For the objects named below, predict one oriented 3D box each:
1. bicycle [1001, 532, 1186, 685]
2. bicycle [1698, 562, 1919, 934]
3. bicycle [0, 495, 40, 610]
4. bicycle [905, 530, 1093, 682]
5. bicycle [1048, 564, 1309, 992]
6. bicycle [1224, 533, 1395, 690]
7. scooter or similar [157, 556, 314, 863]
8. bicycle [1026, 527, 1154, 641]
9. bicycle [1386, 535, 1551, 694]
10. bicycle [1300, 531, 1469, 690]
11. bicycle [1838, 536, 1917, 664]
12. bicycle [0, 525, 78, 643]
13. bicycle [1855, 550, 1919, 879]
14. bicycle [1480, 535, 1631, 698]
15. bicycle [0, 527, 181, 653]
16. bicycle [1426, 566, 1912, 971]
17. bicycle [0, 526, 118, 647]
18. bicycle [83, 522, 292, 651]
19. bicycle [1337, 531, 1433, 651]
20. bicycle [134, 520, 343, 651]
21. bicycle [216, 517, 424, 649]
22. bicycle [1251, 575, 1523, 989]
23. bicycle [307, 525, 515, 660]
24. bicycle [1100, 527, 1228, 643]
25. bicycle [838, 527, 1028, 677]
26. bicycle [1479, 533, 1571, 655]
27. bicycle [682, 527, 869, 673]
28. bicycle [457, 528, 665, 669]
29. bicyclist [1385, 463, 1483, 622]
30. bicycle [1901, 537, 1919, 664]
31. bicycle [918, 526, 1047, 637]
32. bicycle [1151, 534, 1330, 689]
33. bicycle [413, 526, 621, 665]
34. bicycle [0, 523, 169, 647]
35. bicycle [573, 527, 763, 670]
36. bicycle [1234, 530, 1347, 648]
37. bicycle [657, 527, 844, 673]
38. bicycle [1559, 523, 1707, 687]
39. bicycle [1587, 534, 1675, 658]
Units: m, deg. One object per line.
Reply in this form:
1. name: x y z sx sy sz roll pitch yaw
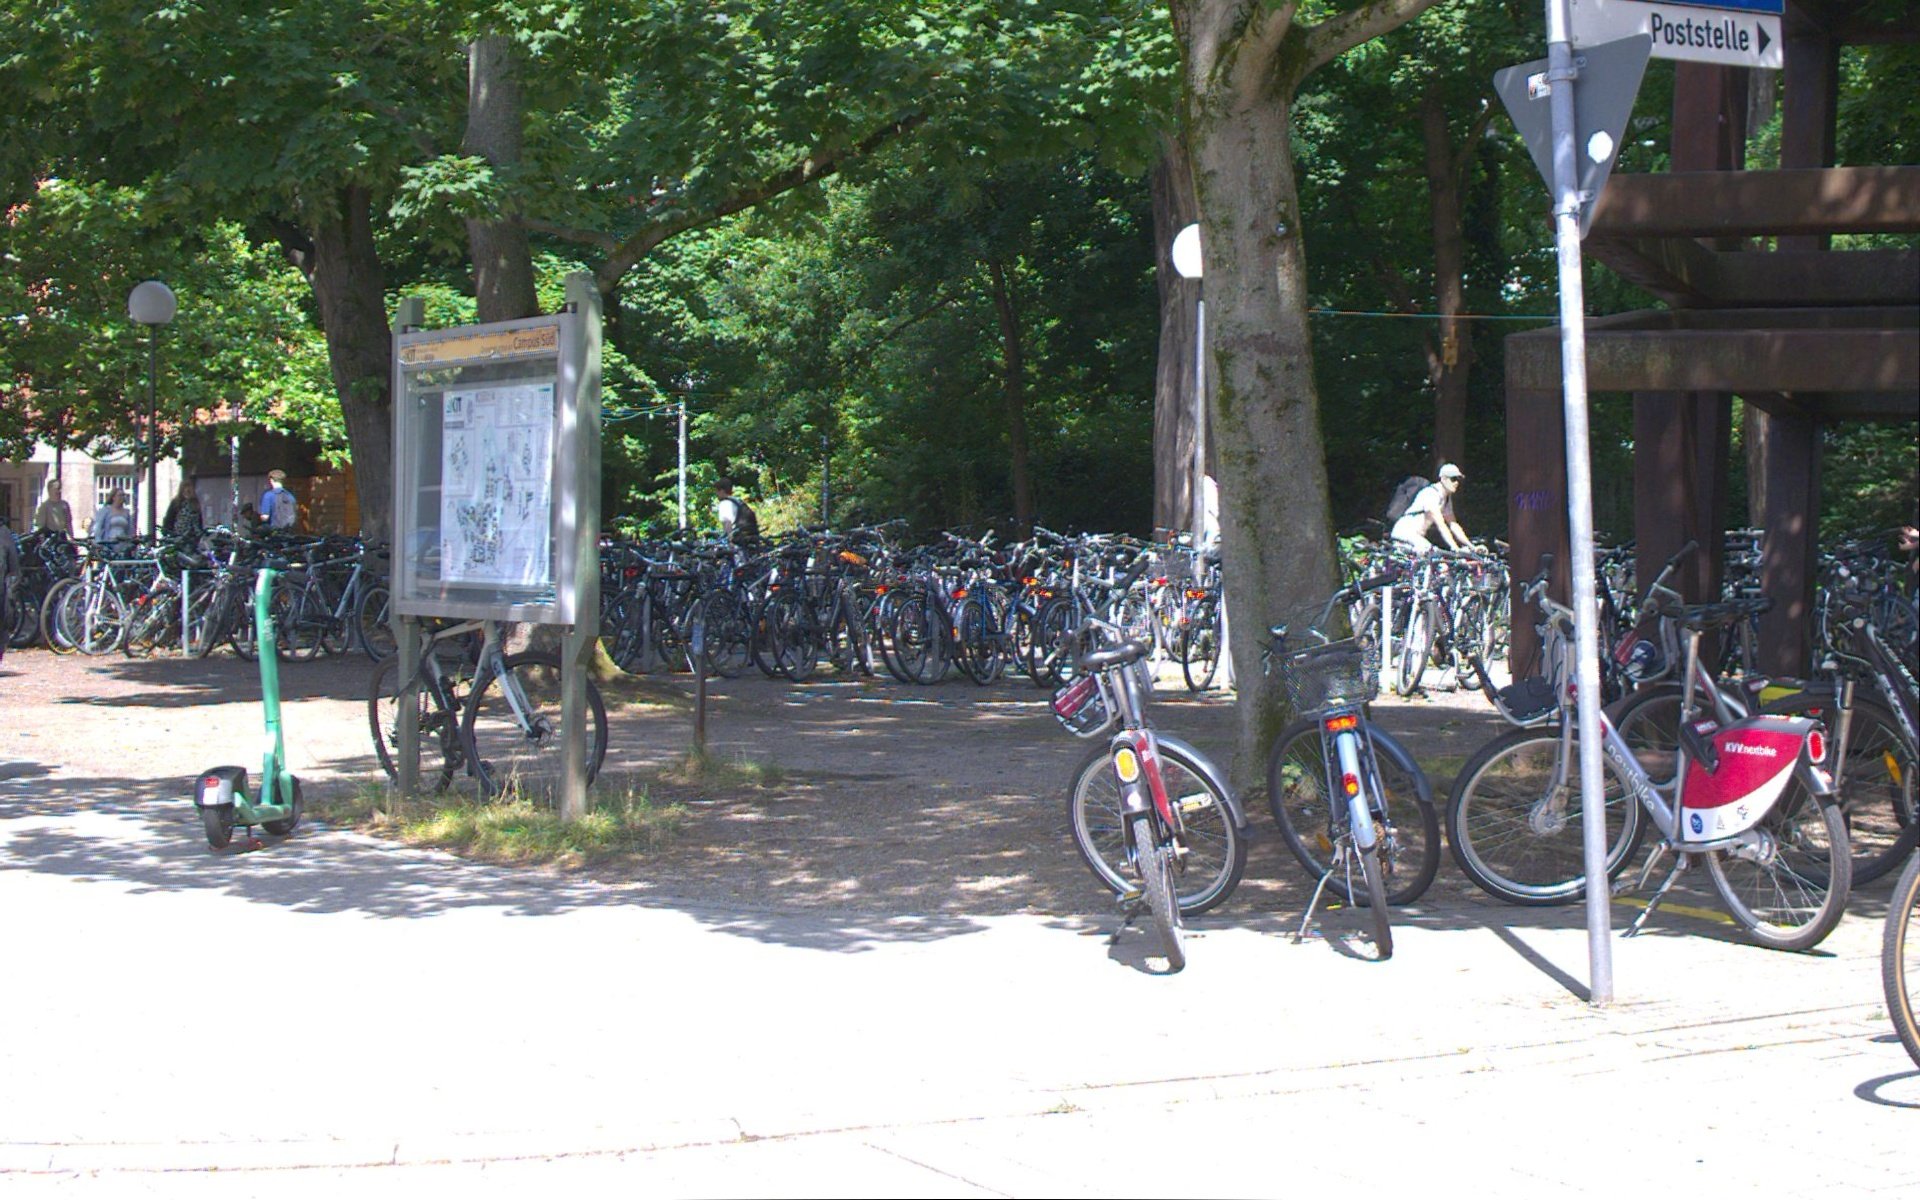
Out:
1. bicycle: 1.029 0.045 25.986 0.502 1.104 2.002 3 2 30
2. bicycle: 3.060 0.455 10.750 0.495 1.104 1.630 -2 3 -30
3. bicycle: -9.761 -0.462 32.881 0.502 1.104 2.027 3 2 33
4. bicycle: 0.321 0.031 26.269 0.502 1.104 2.002 3 2 30
5. bicycle: 0.640 0.497 10.543 0.637 1.155 1.630 -1 2 -2
6. bicycle: 2.608 0.068 25.468 0.502 1.104 1.904 3 2 30
7. scooter or similar: -2.958 0.423 14.096 0.292 1.190 1.185 0 1 5
8. bicycle: 1.293 -0.168 33.897 0.473 1.080 1.697 3 2 31
9. bicycle: 3.721 0.086 25.037 0.502 1.104 1.904 3 2 30
10. bicycle: 3.110 0.059 25.055 0.502 1.104 1.904 3 2 30
11. bicycle: 8.108 -0.013 30.353 0.473 1.080 1.698 2 2 21
12. bicycle: -9.321 -0.151 32.615 0.502 1.104 2.027 3 2 33
13. bicycle: 3.622 0.405 11.326 0.495 1.104 1.630 -2 2 -18
14. bicycle: 4.286 0.096 24.651 0.502 1.104 1.904 2 2 27
15. bicycle: -8.078 -0.103 31.519 0.502 1.104 2.027 3 2 33
16. bicycle: 2.139 0.471 10.562 0.495 1.104 1.630 -2 3 -30
17. bicycle: -8.824 -0.135 32.180 0.502 1.104 2.027 3 2 33
18. bicycle: -6.867 -0.130 30.647 0.502 1.104 2.027 3 2 33
19. bicycle: 4.012 -0.102 32.371 0.473 1.080 1.698 2 2 21
20. bicycle: -6.339 -0.142 30.300 0.502 1.104 2.027 3 2 33
21. bicycle: -5.560 -0.160 29.986 0.502 1.104 2.027 3 2 33
22. bicycle: 1.282 0.509 10.583 0.588 1.104 1.746 -1 2 -1
23. bicycle: -4.655 -0.076 29.277 0.502 1.104 2.027 3 2 33
24. bicycle: 1.983 -0.153 33.229 0.473 1.080 1.697 3 2 31
25. bicycle: -0.190 0.000 26.574 0.502 1.104 2.002 3 2 30
26. bicycle: 5.242 -0.072 31.842 0.473 1.080 1.698 2 2 21
27. bicycle: -1.446 -0.020 27.296 0.502 1.104 2.027 2 2 27
28. bicycle: -3.261 -0.030 28.249 0.502 1.104 2.027 3 2 33
29. bicyclist: 4.758 -0.582 34.525 0.721 1.562 0.594 3 2 39
30. bicycle: 8.613 -0.006 30.209 0.473 1.080 1.698 2 2 21
31. bicycle: 0.240 -0.193 34.559 0.473 1.080 1.697 3 2 31
32. bicycle: 2.118 0.065 25.700 0.502 1.104 2.002 3 2 30
33. bicycle: -3.667 -0.053 28.612 0.502 1.104 2.027 3 2 33
34. bicycle: -8.238 -0.150 31.726 0.502 1.104 2.027 3 2 33
35. bicycle: -2.335 -0.029 27.758 0.502 1.104 2.027 2 2 27
36. bicycle: 3.164 -0.121 32.767 0.473 1.080 1.697 2 2 26
37. bicycle: -1.649 -0.020 27.405 0.502 1.104 2.027 2 2 27
38. bicycle: 4.806 0.016 24.472 0.502 1.104 1.904 2 2 27
39. bicycle: 6.138 -0.050 31.389 0.473 1.080 1.698 2 2 21
